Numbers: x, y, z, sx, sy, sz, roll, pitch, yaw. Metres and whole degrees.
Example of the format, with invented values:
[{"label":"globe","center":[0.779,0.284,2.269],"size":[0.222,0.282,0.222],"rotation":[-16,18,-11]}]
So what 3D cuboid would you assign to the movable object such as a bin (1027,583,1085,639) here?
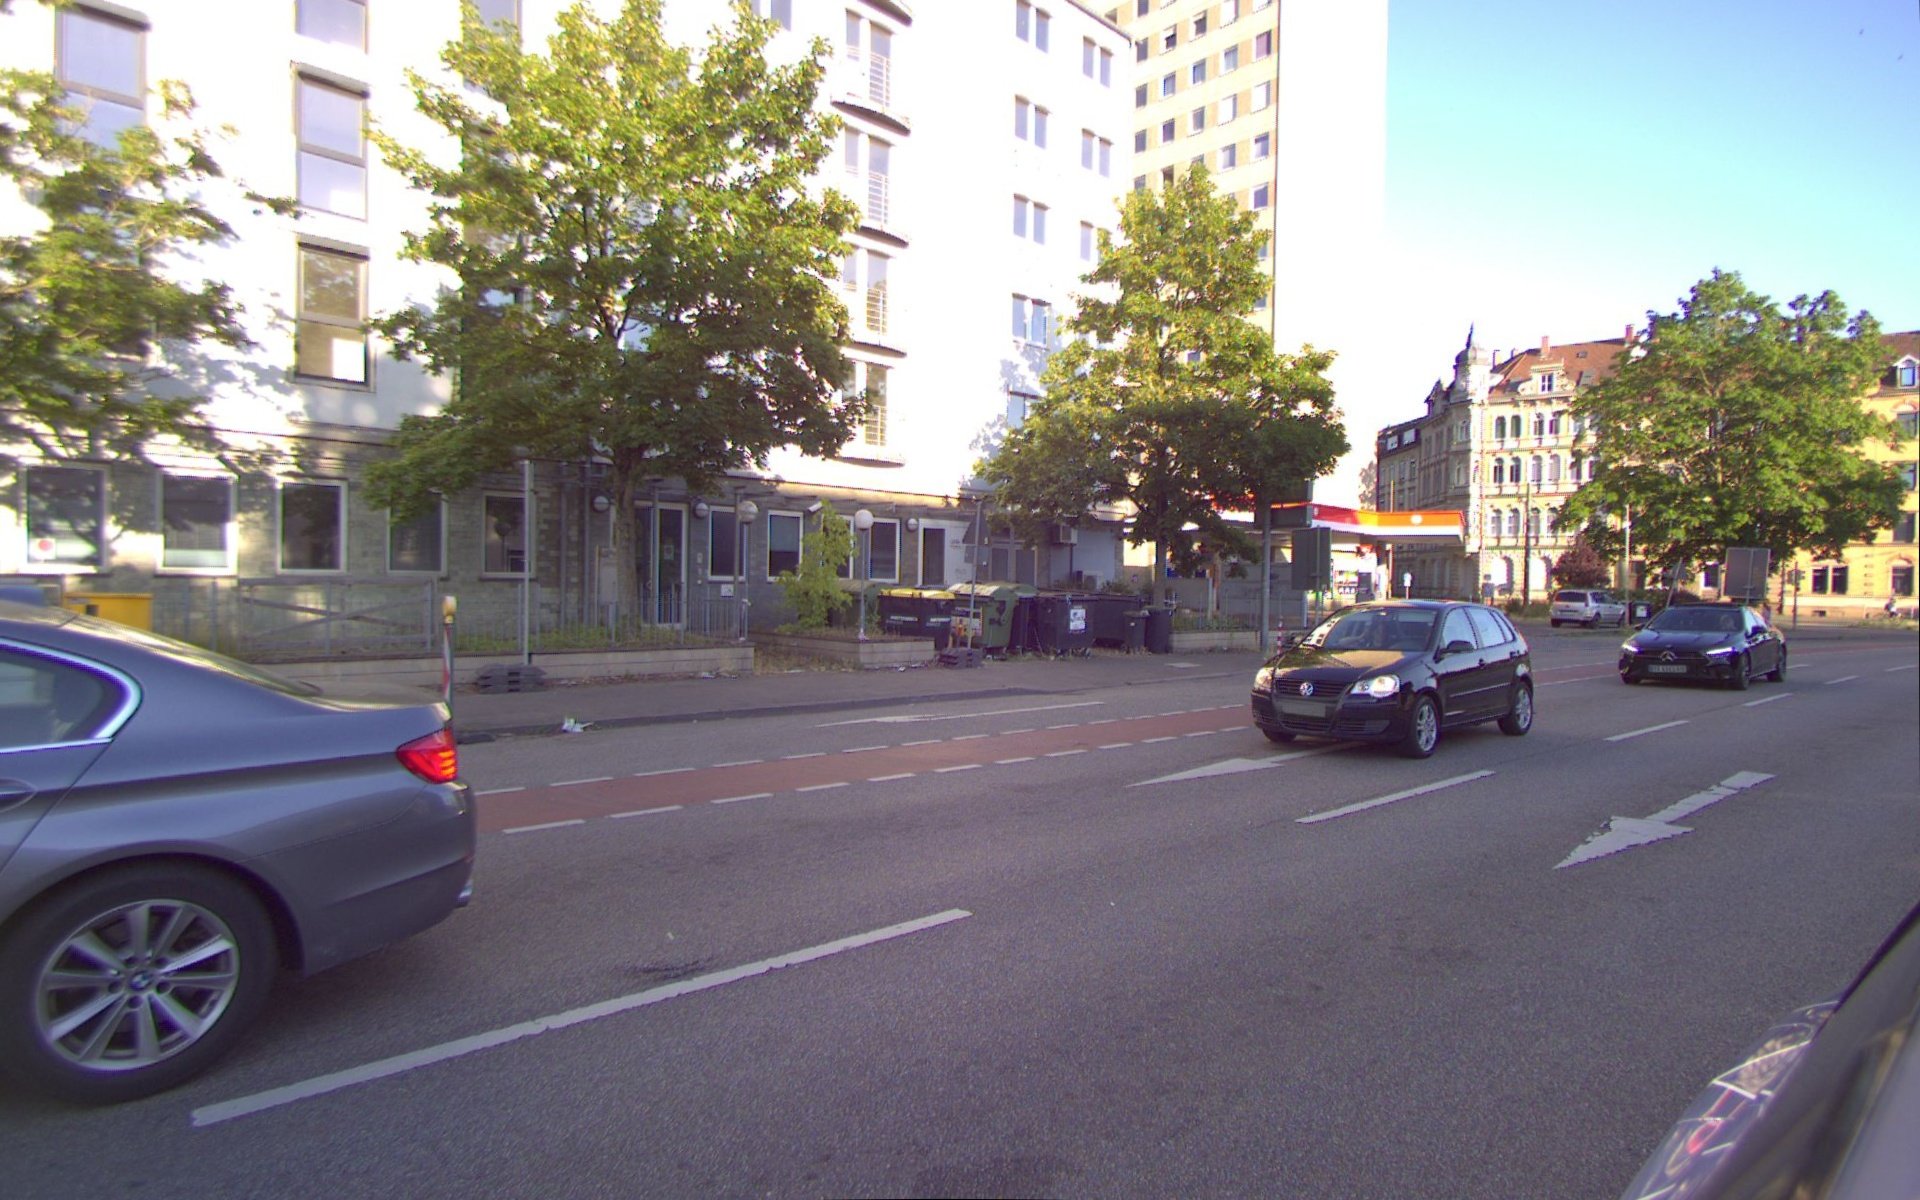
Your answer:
[{"label":"movable object such as a bin","center":[2.402,0.263,25.344],"size":[1.080,1.345,0.954],"rotation":[0,1,-44]}]

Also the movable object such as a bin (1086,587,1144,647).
[{"label":"movable object such as a bin","center":[3.622,0.369,23.663],"size":[0.938,1.345,0.954],"rotation":[0,1,-43]}]

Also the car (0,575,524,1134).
[{"label":"car","center":[-3.822,0.663,2.666],"size":[4.588,1.467,1.817],"rotation":[0,0,-43]}]

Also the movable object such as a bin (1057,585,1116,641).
[{"label":"movable object such as a bin","center":[3.081,0.293,24.615],"size":[1.080,1.299,0.954],"rotation":[0,1,-44]}]

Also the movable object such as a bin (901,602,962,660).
[{"label":"movable object such as a bin","center":[-0.557,0.575,19.470],"size":[0.851,1.058,0.807],"rotation":[2,1,45]}]

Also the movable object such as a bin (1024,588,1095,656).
[{"label":"movable object such as a bin","center":[2.083,0.428,21.086],"size":[1.143,1.345,0.954],"rotation":[0,1,-44]}]

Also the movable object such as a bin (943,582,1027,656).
[{"label":"movable object such as a bin","center":[0.510,0.364,20.816],"size":[1.088,1.441,1.348],"rotation":[0,1,-45]}]

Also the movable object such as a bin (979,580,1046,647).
[{"label":"movable object such as a bin","center":[1.202,0.297,23.190],"size":[1.143,1.467,1.033],"rotation":[0,1,-44]}]

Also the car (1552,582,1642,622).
[{"label":"car","center":[25.769,0.036,40.901],"size":[3.723,1.535,1.691],"rotation":[-1,2,-34]}]

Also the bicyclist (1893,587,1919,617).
[{"label":"bicyclist","center":[53.790,0.107,57.532],"size":[1.062,1.669,0.721],"rotation":[2,1,43]}]

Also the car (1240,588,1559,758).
[{"label":"car","center":[4.689,0.615,10.556],"size":[3.804,1.467,1.583],"rotation":[0,0,-41]}]

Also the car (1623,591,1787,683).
[{"label":"car","center":[13.429,0.583,18.156],"size":[3.978,1.467,1.728],"rotation":[0,0,-44]}]

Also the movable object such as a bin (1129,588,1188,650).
[{"label":"movable object such as a bin","center":[4.541,0.413,23.173],"size":[0.938,1.345,0.954],"rotation":[0,1,-43]}]

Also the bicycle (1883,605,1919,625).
[{"label":"bicycle","center":[53.726,0.862,57.474],"size":[1.920,1.072,0.444],"rotation":[2,1,43]}]

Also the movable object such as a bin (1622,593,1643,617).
[{"label":"movable object such as a bin","center":[29.107,0.218,43.780],"size":[0.675,1.031,0.544],"rotation":[0,1,-36]}]

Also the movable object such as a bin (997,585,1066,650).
[{"label":"movable object such as a bin","center":[1.561,0.364,22.061],"size":[1.143,1.345,0.954],"rotation":[0,1,-44]}]

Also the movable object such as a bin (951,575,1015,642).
[{"label":"movable object such as a bin","center":[0.554,0.184,24.183],"size":[1.143,1.517,1.033],"rotation":[0,1,-44]}]

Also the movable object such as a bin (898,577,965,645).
[{"label":"movable object such as a bin","center":[-0.664,0.238,23.621],"size":[1.143,1.517,1.033],"rotation":[0,1,-44]}]

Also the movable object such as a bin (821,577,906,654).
[{"label":"movable object such as a bin","center":[-1.945,0.288,20.401],"size":[1.088,1.479,1.348],"rotation":[0,1,-45]}]

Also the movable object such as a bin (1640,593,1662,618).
[{"label":"movable object such as a bin","center":[29.421,0.234,43.094],"size":[0.675,1.031,0.544],"rotation":[0,1,-36]}]
